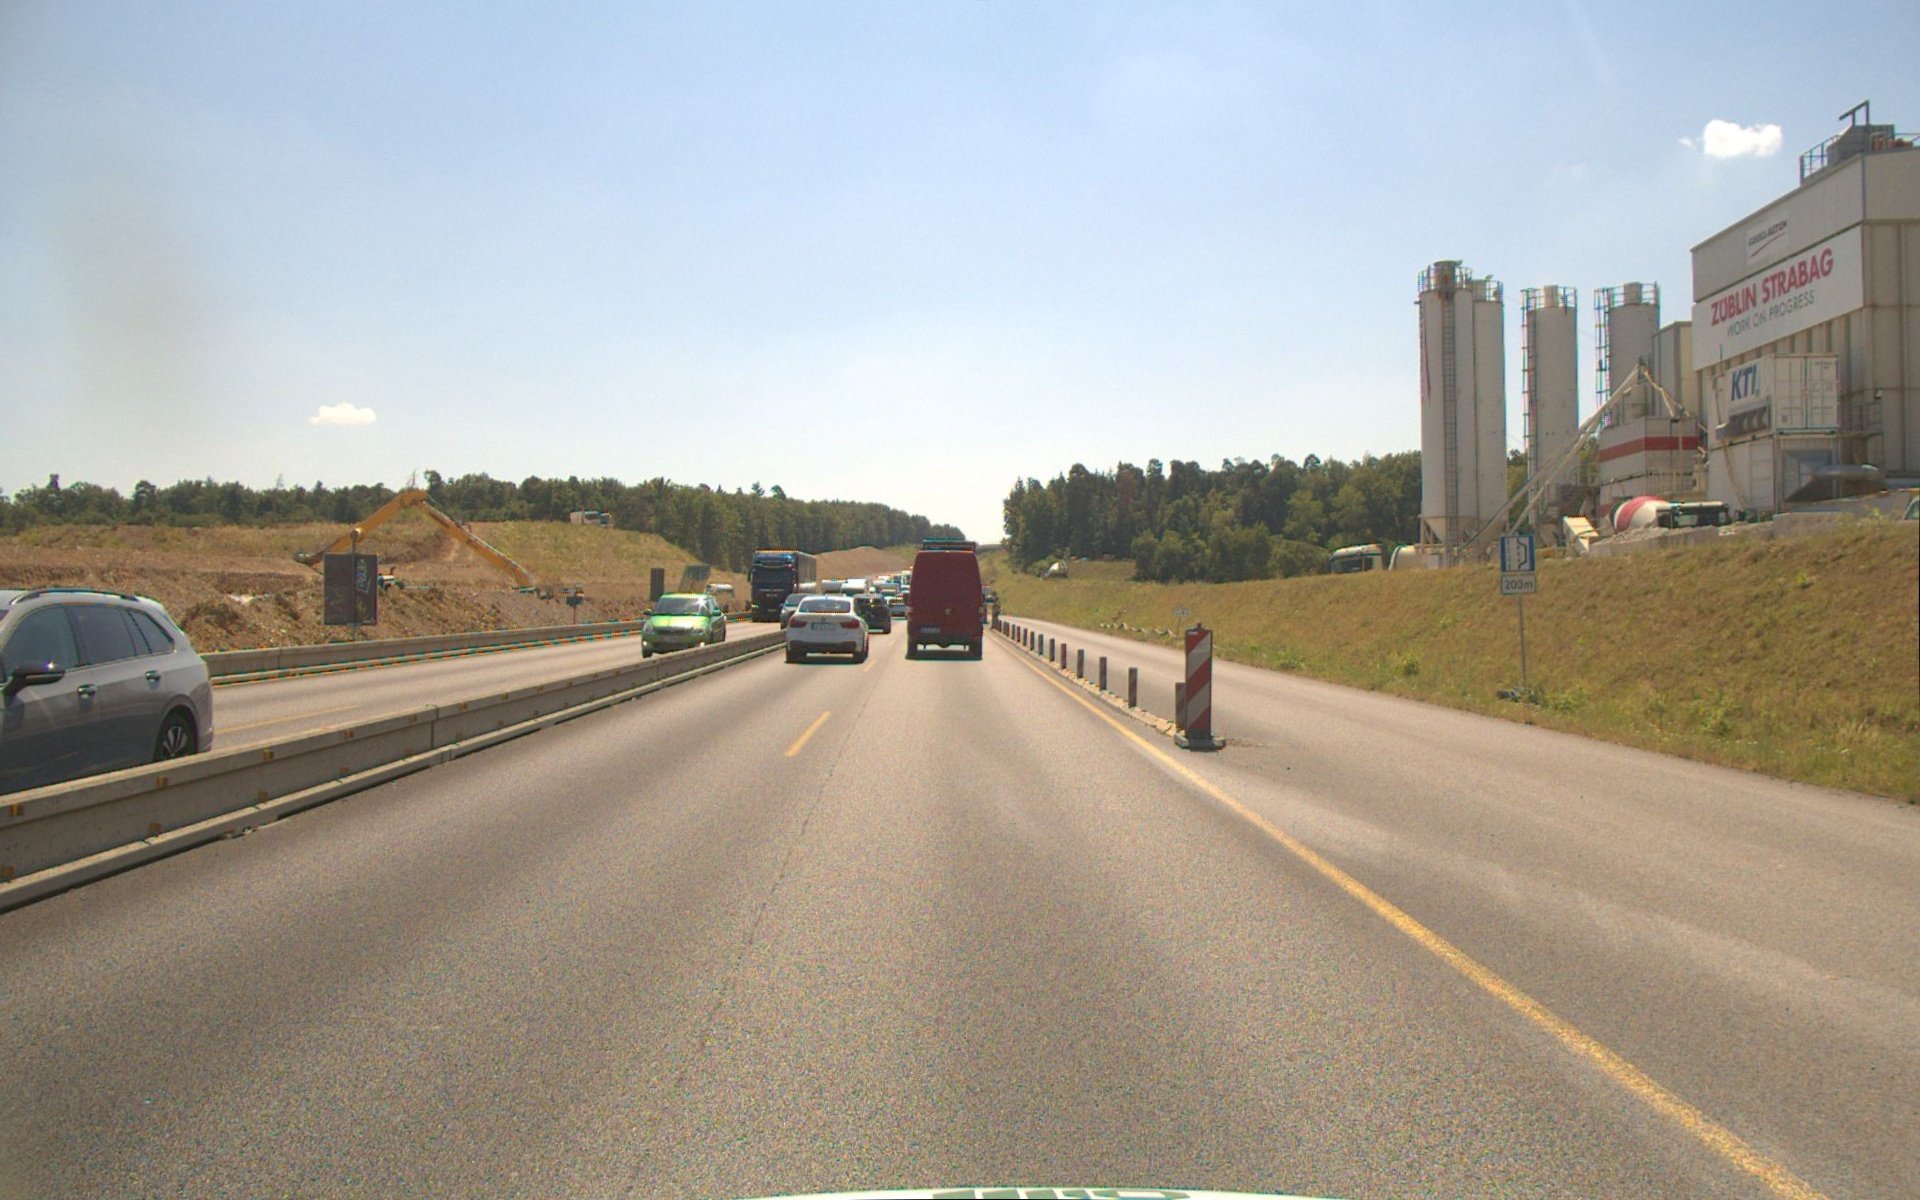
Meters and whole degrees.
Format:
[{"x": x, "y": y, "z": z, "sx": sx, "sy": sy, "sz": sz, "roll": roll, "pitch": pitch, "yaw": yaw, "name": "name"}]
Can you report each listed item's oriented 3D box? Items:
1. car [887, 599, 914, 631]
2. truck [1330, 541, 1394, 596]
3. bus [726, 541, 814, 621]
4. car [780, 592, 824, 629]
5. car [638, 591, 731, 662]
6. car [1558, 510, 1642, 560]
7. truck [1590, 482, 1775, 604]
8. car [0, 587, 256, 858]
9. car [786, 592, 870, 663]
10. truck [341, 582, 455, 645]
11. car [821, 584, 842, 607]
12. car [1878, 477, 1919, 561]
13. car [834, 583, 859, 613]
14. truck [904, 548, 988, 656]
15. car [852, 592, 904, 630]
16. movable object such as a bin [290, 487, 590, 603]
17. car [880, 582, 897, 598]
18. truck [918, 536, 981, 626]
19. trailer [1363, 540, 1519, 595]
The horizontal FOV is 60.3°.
[{"x": -3.897, "y": 0.990, "z": 109.051, "sx": 1.727, "sy": 2.049, "sz": 3.826, "roll": 0, "pitch": 0, "yaw": -1, "name": "car"}, {"x": 24.349, "y": -1.853, "z": 100.035, "sx": 2.837, "sy": 3.167, "sz": 6.010, "roll": 0, "pitch": 0, "yaw": 23, "name": "truck"}, {"x": -11.514, "y": -1.092, "z": 102.176, "sx": 3.863, "sy": 4.492, "sz": 17.195, "roll": 0, "pitch": 0, "yaw": -2, "name": "bus"}, {"x": -7.070, "y": 0.454, "z": 74.158, "sx": 1.618, "sy": 1.585, "sz": 4.095, "roll": 0, "pitch": 0, "yaw": -1, "name": "car"}, {"x": -6.545, "y": 0.590, "z": 39.629, "sx": 1.570, "sy": 1.607, "sz": 4.167, "roll": 0, "pitch": 0, "yaw": -1, "name": "car"}, {"x": 28.353, "y": -2.864, "z": 73.419, "sx": 1.953, "sy": 2.049, "sz": 4.427, "roll": 0, "pitch": 0, "yaw": -1, "name": "car"}, {"x": 27.885, "y": -2.057, "z": 64.502, "sx": 3.363, "sy": 4.371, "sz": 9.931, "roll": 0, "pitch": 0, "yaw": 3, "name": "truck"}, {"x": -6.227, "y": 0.670, "z": 10.332, "sx": 1.750, "sy": 1.502, "sz": 4.523, "roll": 1, "pitch": 0, "yaw": -1, "name": "car"}, {"x": -3.084, "y": 0.615, "z": 39.441, "sx": 1.759, "sy": 1.561, "sz": 5.071, "roll": 1, "pitch": 0, "yaw": -2, "name": "car"}, {"x": -24.897, "y": 0.553, "z": 73.678, "sx": 2.268, "sy": 2.663, "sz": 8.409, "roll": 0, "pitch": 0, "yaw": -1, "name": "truck"}, {"x": -11.798, "y": -0.437, "z": 151.953, "sx": 1.727, "sy": 2.049, "sz": 3.826, "roll": 0, "pitch": 0, "yaw": -1, "name": "car"}, {"x": 24.990, "y": -2.028, "z": 40.489, "sx": 2.178, "sy": 2.049, "sz": 4.992, "roll": 0, "pitch": 0, "yaw": -1, "name": "car"}, {"x": -8.419, "y": -0.159, "z": 122.744, "sx": 1.821, "sy": 2.192, "sz": 3.623, "roll": 0, "pitch": 0, "yaw": -3, "name": "car"}, {"x": -0.311, "y": 0.032, "z": 44.263, "sx": 2.068, "sy": 2.679, "sz": 6.484, "roll": 0, "pitch": 0, "yaw": 0, "name": "truck"}, {"x": -3.384, "y": 0.437, "z": 68.700, "sx": 1.757, "sy": 1.561, "sz": 3.932, "roll": 0, "pitch": 0, "yaw": 3, "name": "car"}, {"x": -33.812, "y": -3.551, "z": 108.177, "sx": 18.337, "sy": 7.358, "sz": 3.614, "roll": 0, "pitch": 0, "yaw": -3, "name": "movable object such as a bin"}, {"x": -8.748, "y": -1.268, "z": 202.415, "sx": 1.953, "sy": 1.937, "sz": 3.999, "roll": 0, "pitch": 0, "yaw": -1, "name": "car"}, {"x": -0.507, "y": -0.923, "z": 82.362, "sx": 2.954, "sy": 4.225, "sz": 8.272, "roll": 0, "pitch": 0, "yaw": 0, "name": "truck"}, {"x": 29.602, "y": -2.001, "z": 101.898, "sx": 8.848, "sy": 3.286, "sz": 3.317, "roll": 0, "pitch": 0, "yaw": -16, "name": "trailer"}]
